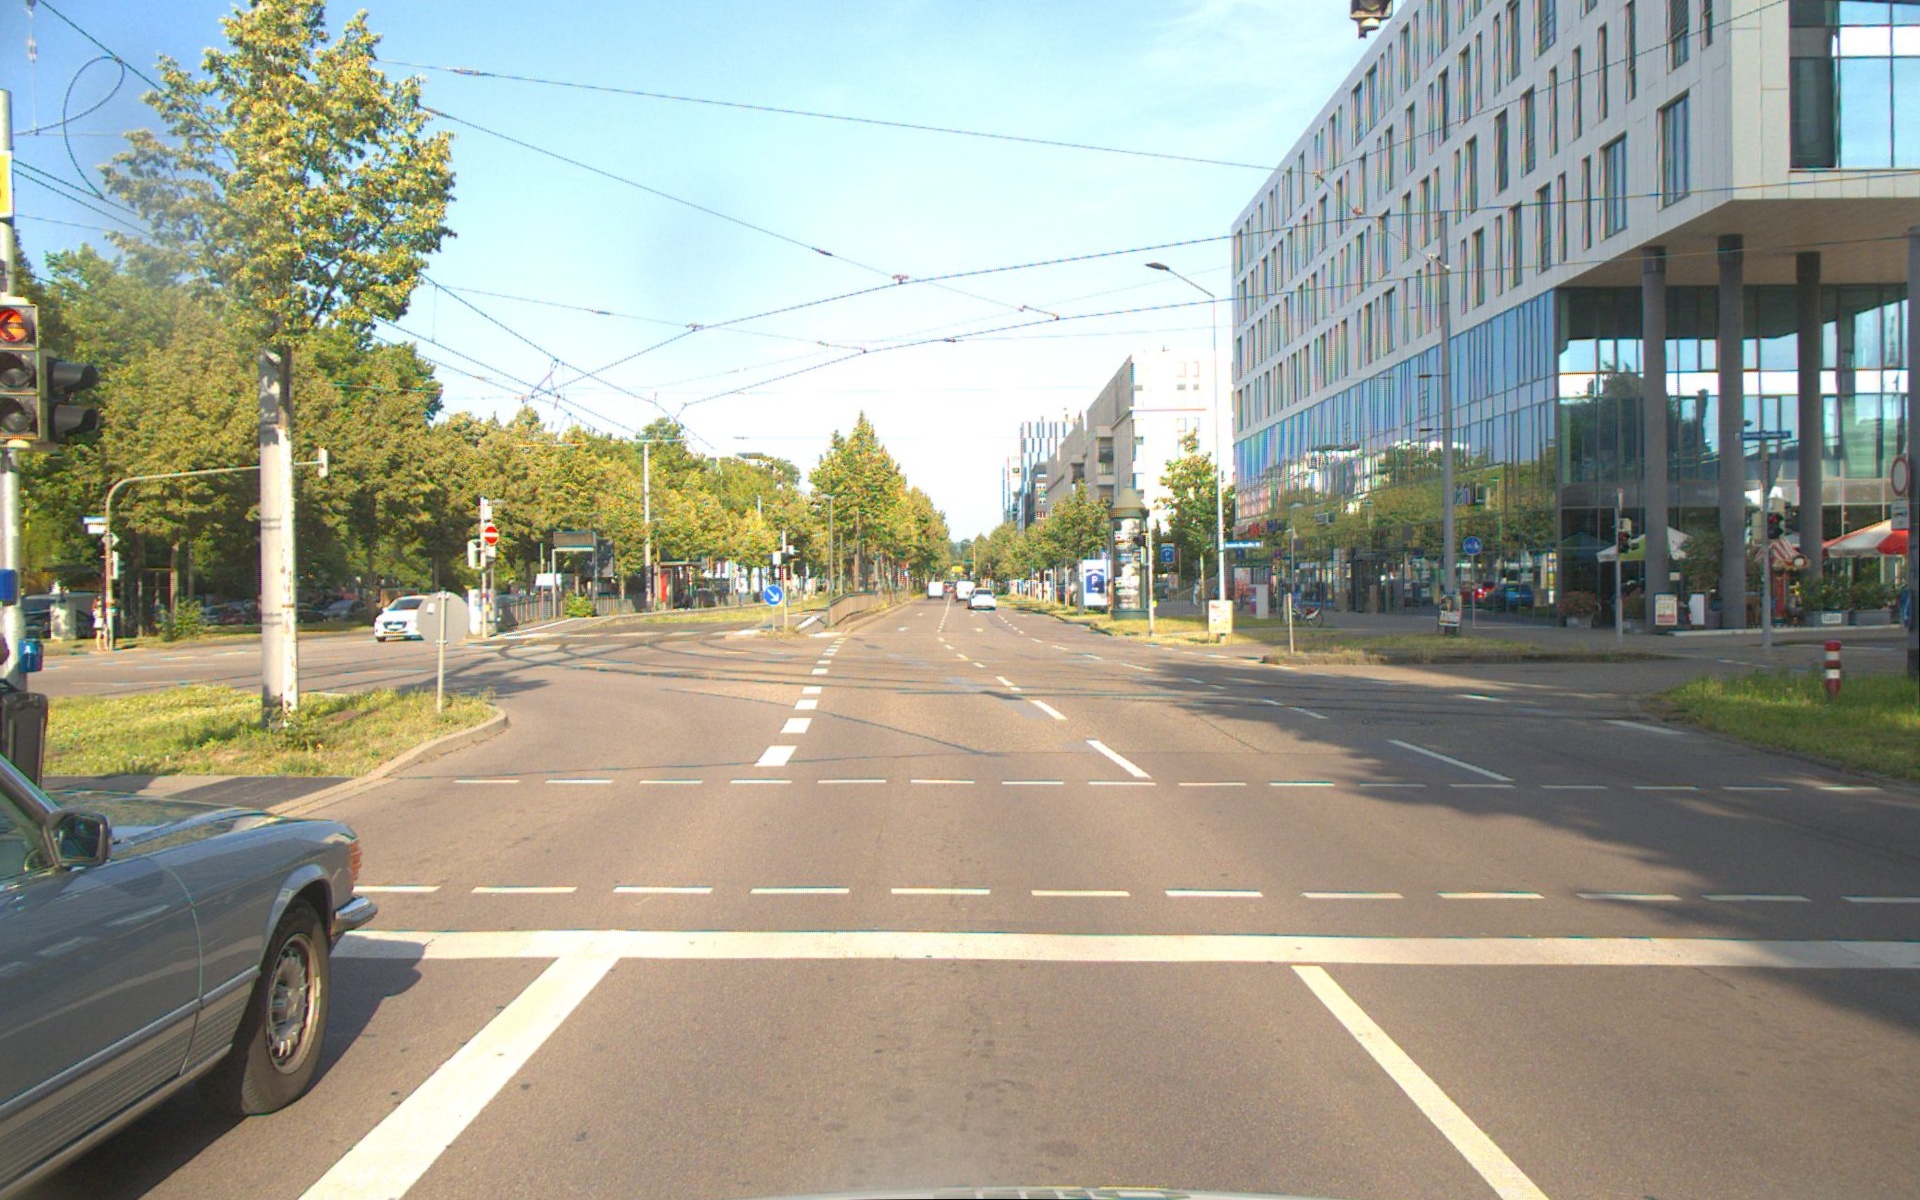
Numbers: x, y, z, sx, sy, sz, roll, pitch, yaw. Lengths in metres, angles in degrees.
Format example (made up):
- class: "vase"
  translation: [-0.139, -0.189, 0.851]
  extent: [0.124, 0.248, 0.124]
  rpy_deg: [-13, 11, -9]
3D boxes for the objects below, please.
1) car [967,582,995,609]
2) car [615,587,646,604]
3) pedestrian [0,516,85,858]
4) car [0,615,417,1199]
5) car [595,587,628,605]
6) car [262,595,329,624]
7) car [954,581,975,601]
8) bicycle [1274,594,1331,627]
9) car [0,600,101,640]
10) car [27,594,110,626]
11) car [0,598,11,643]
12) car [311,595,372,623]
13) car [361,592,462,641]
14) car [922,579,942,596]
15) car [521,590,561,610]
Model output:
- class: "car"
  translation: [1.376, -0.295, 110.757]
  extent: [1.826, 1.713, 4.000]
  rpy_deg: [1, 1, 0]
- class: "car"
  translation: [-31.881, -0.439, 160.245]
  extent: [1.841, 1.586, 4.002]
  rpy_deg: [-1, 0, 5]
- class: "pedestrian"
  translation: [-5.362, 0.459, 9.153]
  extent: [0.685, 1.823, 0.635]
  rpy_deg: [1, 0, 0]
- class: "car"
  translation: [-2.650, 0.772, 3.308]
  extent: [1.728, 1.353, 4.399]
  rpy_deg: [1, 1, -1]
- class: "car"
  translation: [-32.388, -0.347, 153.819]
  extent: [1.841, 1.586, 4.002]
  rpy_deg: [-1, 0, 5]
- class: "car"
  translation: [-37.269, 0.509, 92.866]
  extent: [1.841, 1.586, 4.002]
  rpy_deg: [-1, 0, 5]
- class: "car"
  translation: [0.395, -0.835, 148.355]
  extent: [1.826, 1.713, 4.000]
  rpy_deg: [1, 1, 0]
- class: "bicycle"
  translation: [11.914, 0.361, 57.537]
  extent: [0.767, 1.050, 1.849]
  rpy_deg: [-1, 3, -43]
- class: "car"
  translation: [-38.696, 0.836, 70.466]
  extent: [1.841, 1.586, 4.002]
  rpy_deg: [-1, 0, 5]
- class: "car"
  translation: [-45.878, 0.503, 85.176]
  extent: [1.841, 1.586, 4.002]
  rpy_deg: [-1, 0, 5]
- class: "car"
  translation: [-39.153, 0.826, 64.410]
  extent: [1.841, 1.780, 4.002]
  rpy_deg: [-1, 0, 5]
- class: "car"
  translation: [-36.794, 0.516, 98.440]
  extent: [1.841, 1.586, 4.002]
  rpy_deg: [-1, 0, 5]
- class: "car"
  translation: [-18.725, 0.539, 56.643]
  extent: [1.952, 1.530, 4.093]
  rpy_deg: [-2, 0, 1]
- class: "car"
  translation: [-2.967, -1.350, 174.809]
  extent: [1.973, 1.713, 4.000]
  rpy_deg: [1, 1, 0]
- class: "car"
  translation: [-33.774, -0.022, 133.390]
  extent: [1.841, 1.586, 4.002]
  rpy_deg: [-1, 0, 5]
